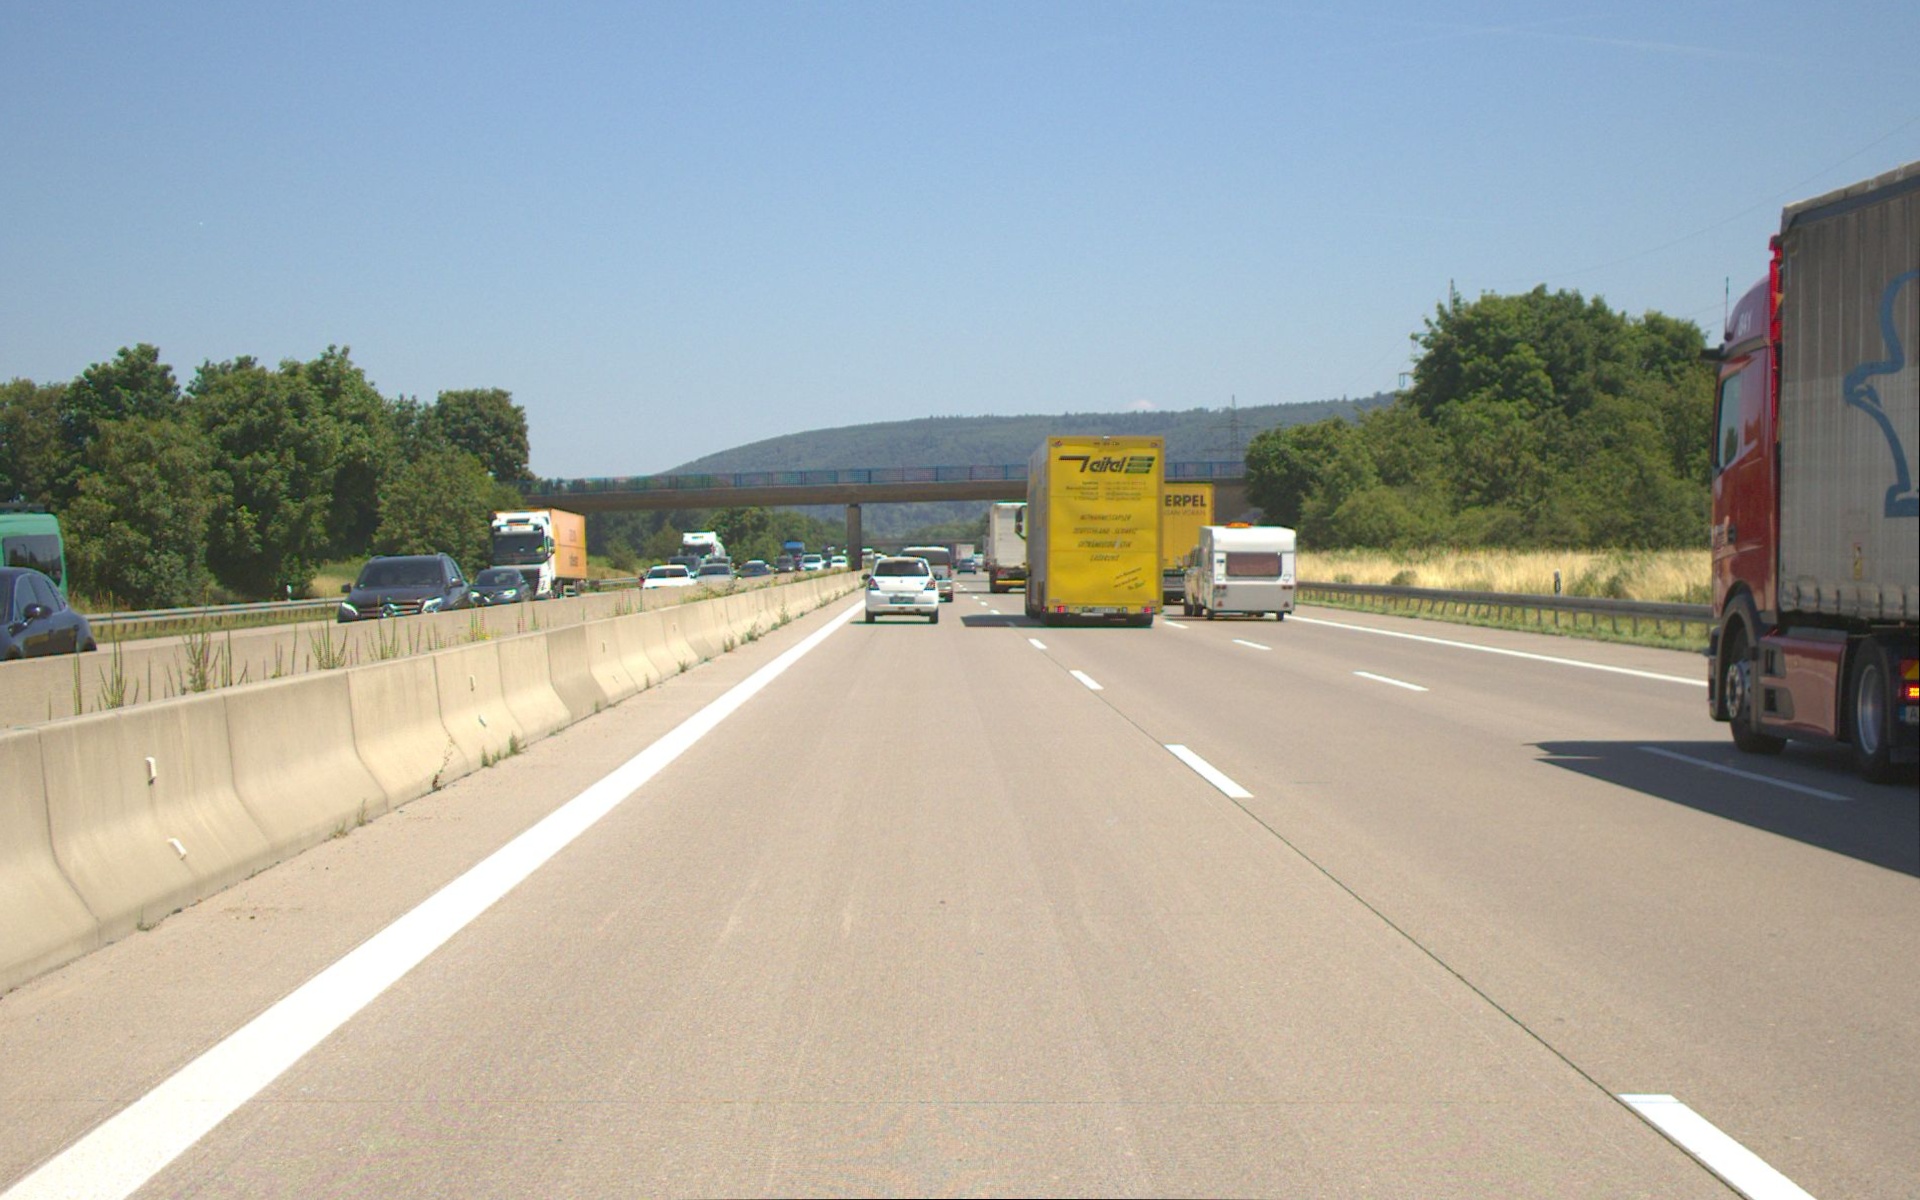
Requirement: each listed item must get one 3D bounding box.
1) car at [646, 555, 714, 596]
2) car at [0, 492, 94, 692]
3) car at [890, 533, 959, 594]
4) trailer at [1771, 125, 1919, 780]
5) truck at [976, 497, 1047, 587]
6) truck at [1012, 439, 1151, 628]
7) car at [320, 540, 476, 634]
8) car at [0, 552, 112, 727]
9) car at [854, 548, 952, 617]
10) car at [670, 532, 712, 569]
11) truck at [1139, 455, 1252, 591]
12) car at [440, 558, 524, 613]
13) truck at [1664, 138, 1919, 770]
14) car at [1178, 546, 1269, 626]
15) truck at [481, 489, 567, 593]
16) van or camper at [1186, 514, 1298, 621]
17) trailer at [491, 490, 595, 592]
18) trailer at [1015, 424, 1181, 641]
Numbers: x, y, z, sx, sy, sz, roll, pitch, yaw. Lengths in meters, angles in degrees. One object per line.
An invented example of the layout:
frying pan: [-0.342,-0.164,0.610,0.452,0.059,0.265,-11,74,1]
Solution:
car: [-9.925,-0.889,122.151,1.993,1.359,4.670,-2,1,0]
car: [-13.296,-0.105,45.344,2.149,2.542,6.464,-1,1,-1]
car: [-1.212,-1.271,118.428,2.254,2.007,4.298,1,1,1]
trailer: [7.458,-0.850,18.253,2.873,4.086,13.513,1,1,-1]
truck: [2.186,-2.521,148.328,2.820,3.748,6.284,1,1,-1]
truck: [2.996,-1.669,86.663,3.216,4.548,5.836,1,1,0]
car: [-9.913,-0.264,60.966,1.993,1.571,4.849,1,1,-1]
car: [-9.676,0.326,32.912,1.940,1.552,4.889,1,1,-1]
car: [-1.289,-0.426,79.585,2.107,1.530,4.122,1,1,1]
car: [-15.166,-2.791,194.096,1.931,1.993,5.518,1,1,-1]
truck: [7.809,-2.549,115.254,2.999,4.299,9.684,1,1,0]
car: [-15.008,-0.473,108.172,1.993,1.555,4.513,-3,1,0]
truck: [7.372,-0.972,25.396,2.905,4.086,6.272,1,1,-1]
car: [6.882,-0.401,90.028,1.993,2.007,4.000,1,1,-1]
truck: [-18.287,-2.473,144.529,2.868,4.181,5.230,-2,1,-1]
van or camper: [6.954,-0.826,85.247,2.224,2.522,5.431,1,1,-1]
trailer: [-18.343,-2.579,151.974,2.873,4.183,14.141,-2,1,-1]
trailer: [3.041,-1.551,79.739,3.216,4.548,13.457,1,1,0]
